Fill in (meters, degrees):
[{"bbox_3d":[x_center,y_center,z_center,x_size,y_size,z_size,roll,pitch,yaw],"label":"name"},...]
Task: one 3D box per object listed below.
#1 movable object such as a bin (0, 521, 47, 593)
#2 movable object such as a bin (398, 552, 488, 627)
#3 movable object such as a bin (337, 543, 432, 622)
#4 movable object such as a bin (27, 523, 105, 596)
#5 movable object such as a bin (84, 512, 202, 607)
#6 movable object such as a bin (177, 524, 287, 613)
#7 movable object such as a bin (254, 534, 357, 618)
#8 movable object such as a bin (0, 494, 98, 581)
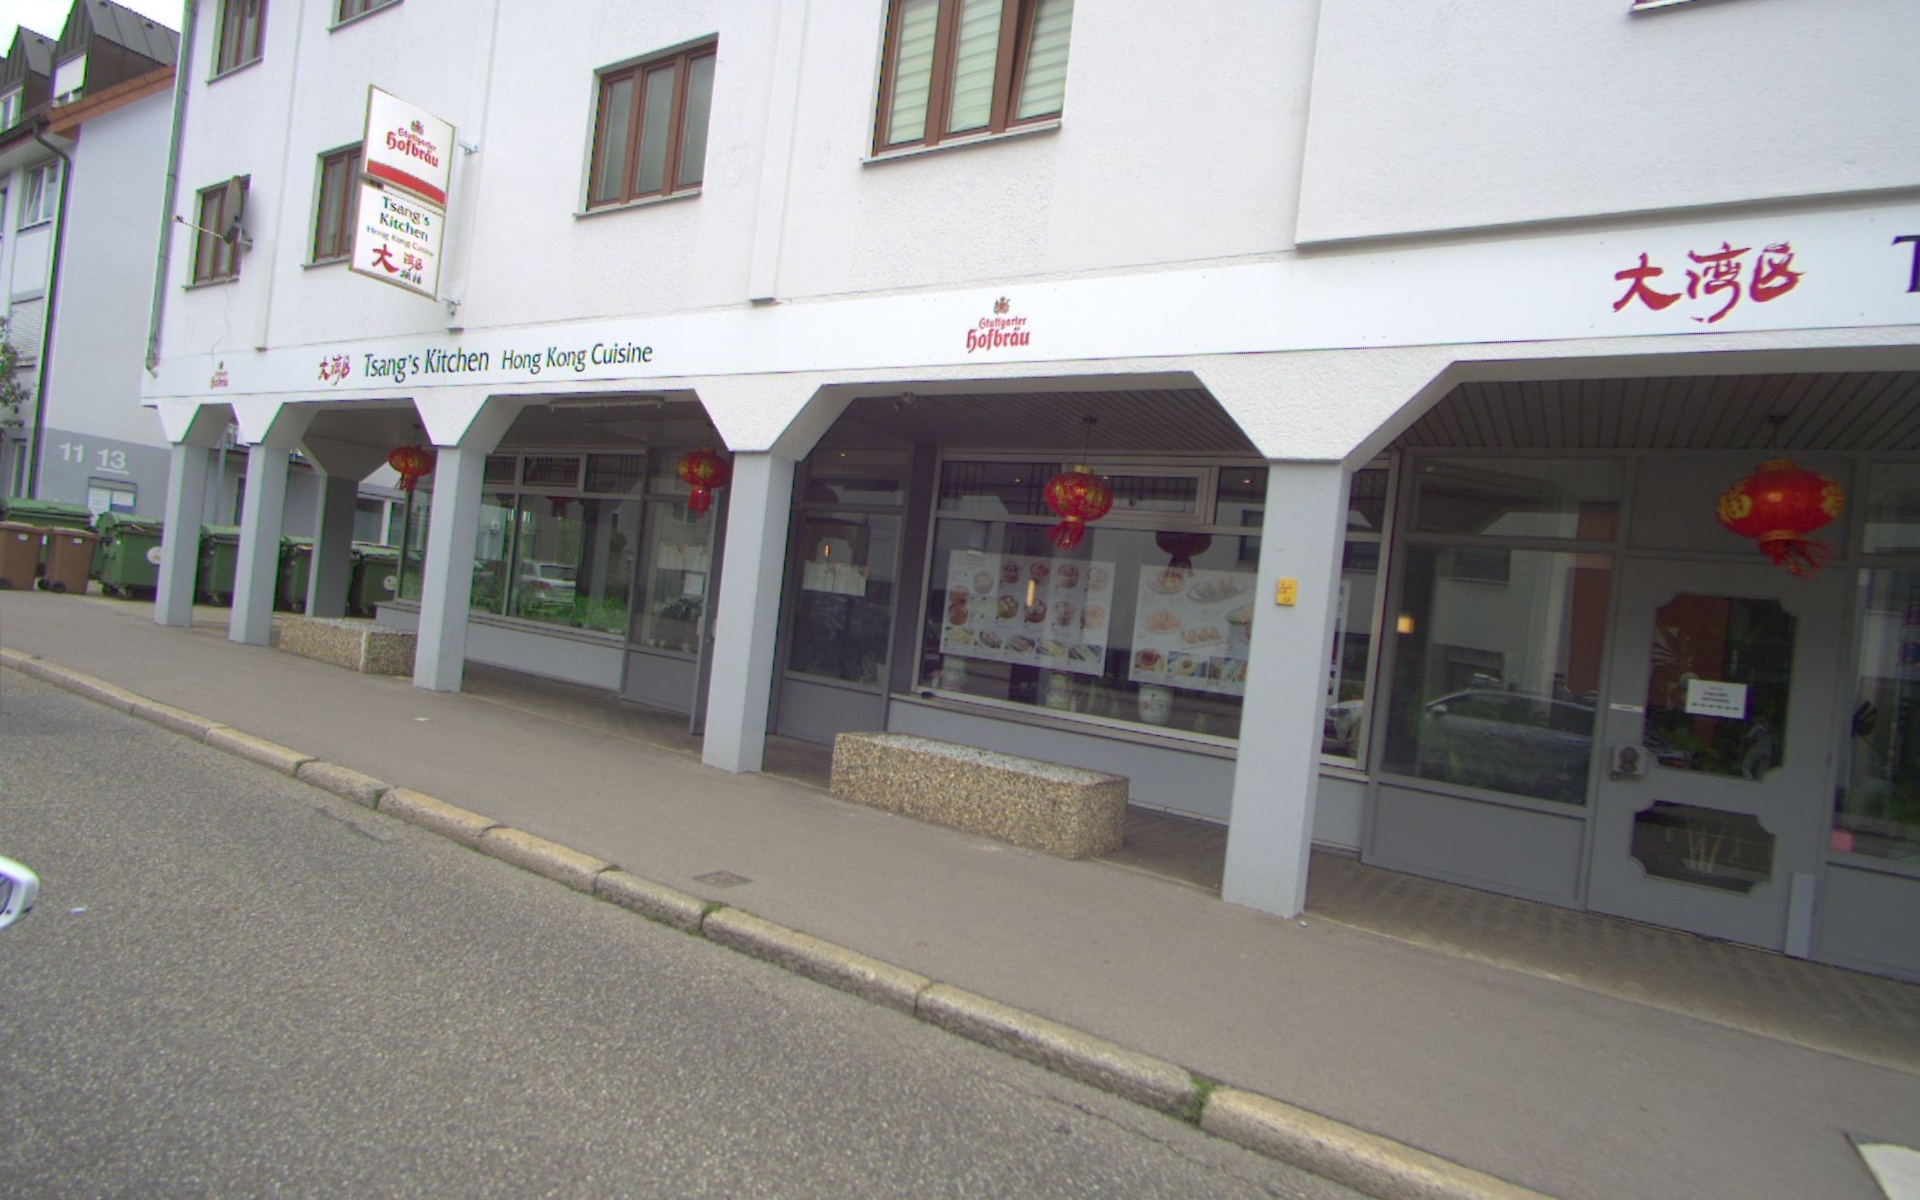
[{"bbox_3d":[-15.464,-0.723,16.340,0.956,1.080,0.683,7,0,36],"label":"movable object such as a bin"},{"bbox_3d":[-11.361,-0.229,22.120,1.239,1.434,1.210,7,0,35],"label":"movable object such as a bin"},{"bbox_3d":[-12.054,-0.361,21.089,1.239,1.434,1.210,7,0,35],"label":"movable object such as a bin"},{"bbox_3d":[-15.063,-0.681,16.950,0.956,1.092,0.698,7,0,35],"label":"movable object such as a bin"},{"bbox_3d":[-14.266,-0.703,17.580,1.239,1.434,1.210,7,0,35],"label":"movable object such as a bin"},{"bbox_3d":[-13.549,-0.586,18.736,1.239,1.434,1.210,7,0,35],"label":"movable object such as a bin"},{"bbox_3d":[-12.877,-0.473,19.795,1.239,1.434,1.210,7,0,35],"label":"movable object such as a bin"},{"bbox_3d":[-17.772,-1.214,19.426,1.286,1.452,1.269,7,0,32],"label":"movable object such as a bin"}]
